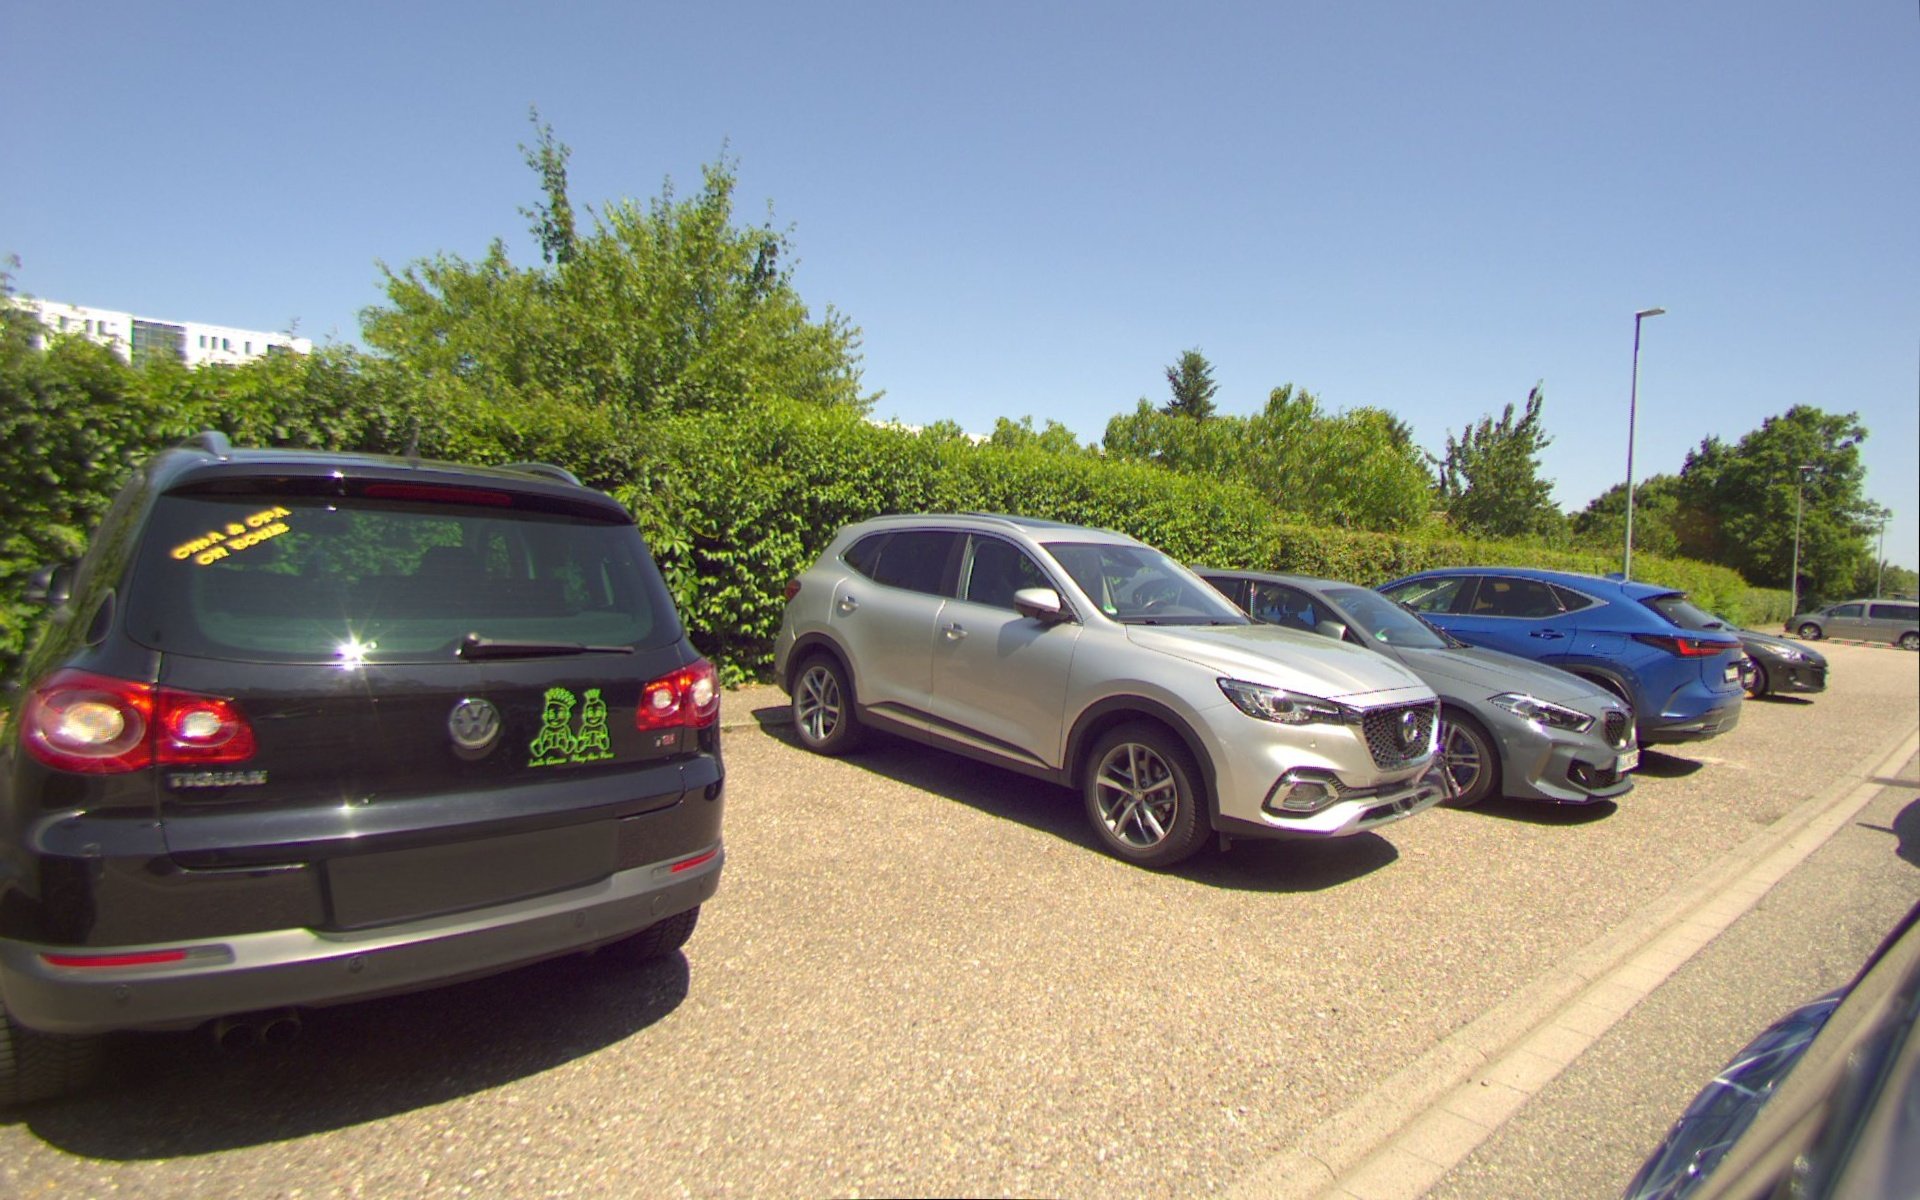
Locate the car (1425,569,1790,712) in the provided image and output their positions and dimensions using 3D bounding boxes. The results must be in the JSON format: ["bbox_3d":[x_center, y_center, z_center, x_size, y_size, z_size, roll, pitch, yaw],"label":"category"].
[{"bbox_3d":[9.107,0.456,14.531,1.620,1.463,4.037,1,5,-40],"label":"car"}]

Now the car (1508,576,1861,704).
[{"bbox_3d":[11.420,0.524,16.222,1.620,1.434,4.253,1,5,-40],"label":"car"}]

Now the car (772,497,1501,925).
[{"bbox_3d":[0.737,0.309,6.258,1.746,1.661,4.168,0,5,-42],"label":"car"}]

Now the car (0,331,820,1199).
[{"bbox_3d":[-2.378,0.228,3.855,1.735,1.706,3.983,1,4,-40],"label":"car"}]

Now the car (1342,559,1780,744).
[{"bbox_3d":[6.840,0.445,11.906,1.620,1.532,4.037,1,5,-40],"label":"car"}]

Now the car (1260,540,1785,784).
[{"bbox_3d":[5.188,0.395,9.822,1.644,1.661,4.037,1,5,-40],"label":"car"}]

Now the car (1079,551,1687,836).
[{"bbox_3d":[3.029,0.483,7.971,1.650,1.426,4.036,1,5,-41],"label":"car"}]

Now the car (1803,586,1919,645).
[{"bbox_3d":[35.516,0.632,38.913,1.668,1.872,4.487,1,5,-44],"label":"car"}]
